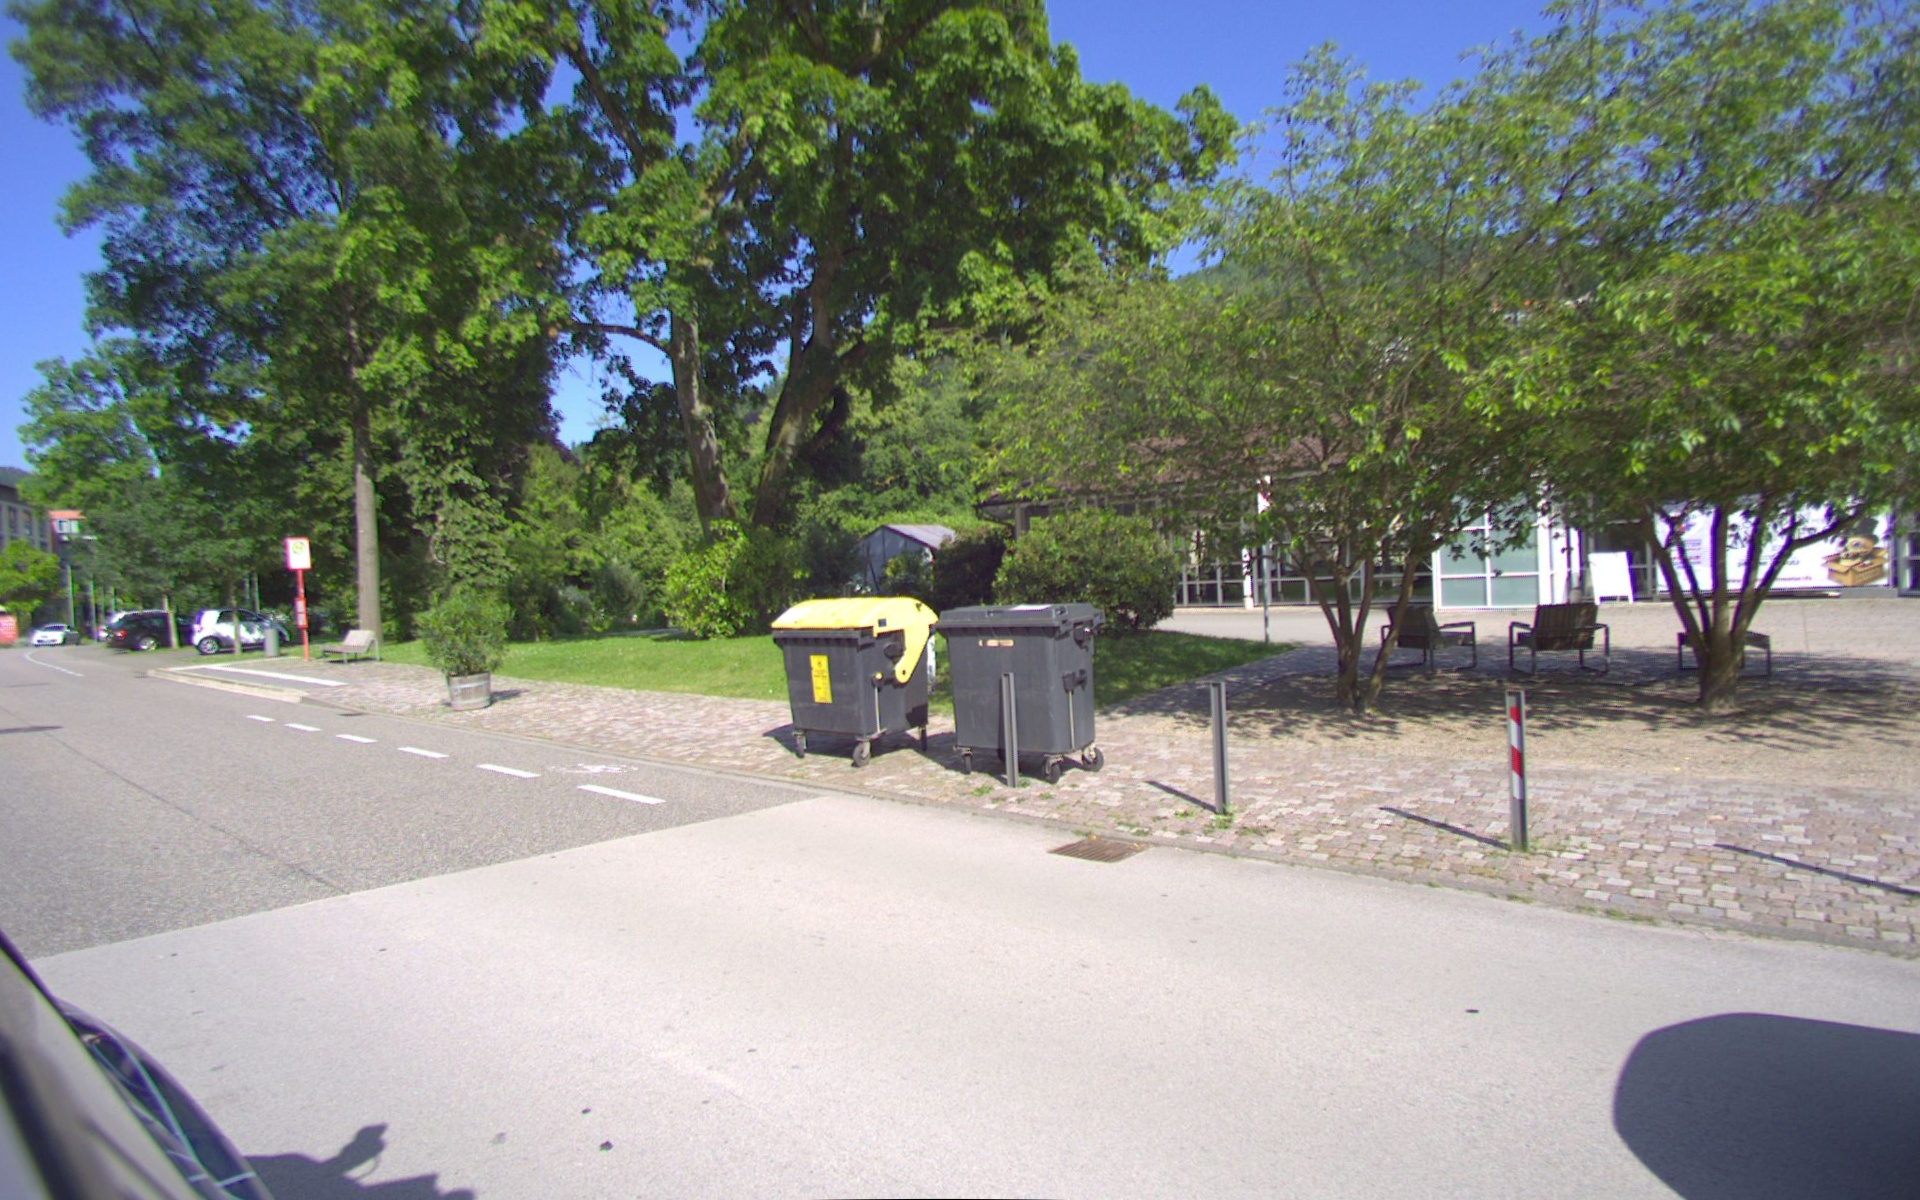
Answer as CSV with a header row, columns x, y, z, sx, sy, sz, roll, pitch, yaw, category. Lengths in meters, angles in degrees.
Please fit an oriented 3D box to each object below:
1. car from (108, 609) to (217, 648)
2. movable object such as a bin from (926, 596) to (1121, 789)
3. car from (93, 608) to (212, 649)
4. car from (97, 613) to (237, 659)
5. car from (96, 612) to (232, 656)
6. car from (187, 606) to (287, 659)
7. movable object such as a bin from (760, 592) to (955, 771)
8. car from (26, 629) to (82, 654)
x,y,z,sx,sy,sz,roll,pitch,yaw,category
-43.724,1.513,55.562,4.432,1.675,1.811,-7,4,-44,car
0.495,0.691,8.070,1.294,1.351,0.747,-2,3,41,movable object such as a bin
-40.200,1.373,50.546,4.425,1.427,1.814,-8,5,-35,car
-32.894,1.454,42.098,1.710,1.442,4.237,-2,3,37,car
-35.263,1.466,44.922,1.713,1.521,4.446,-2,3,43,car
-25.471,1.111,35.664,2.619,1.558,1.685,-6,3,-40,car
-0.953,0.707,9.429,1.376,1.437,1.068,-2,3,41,movable object such as a bin
-63.160,2.869,70.639,1.627,1.481,4.013,-5,2,-23,car
